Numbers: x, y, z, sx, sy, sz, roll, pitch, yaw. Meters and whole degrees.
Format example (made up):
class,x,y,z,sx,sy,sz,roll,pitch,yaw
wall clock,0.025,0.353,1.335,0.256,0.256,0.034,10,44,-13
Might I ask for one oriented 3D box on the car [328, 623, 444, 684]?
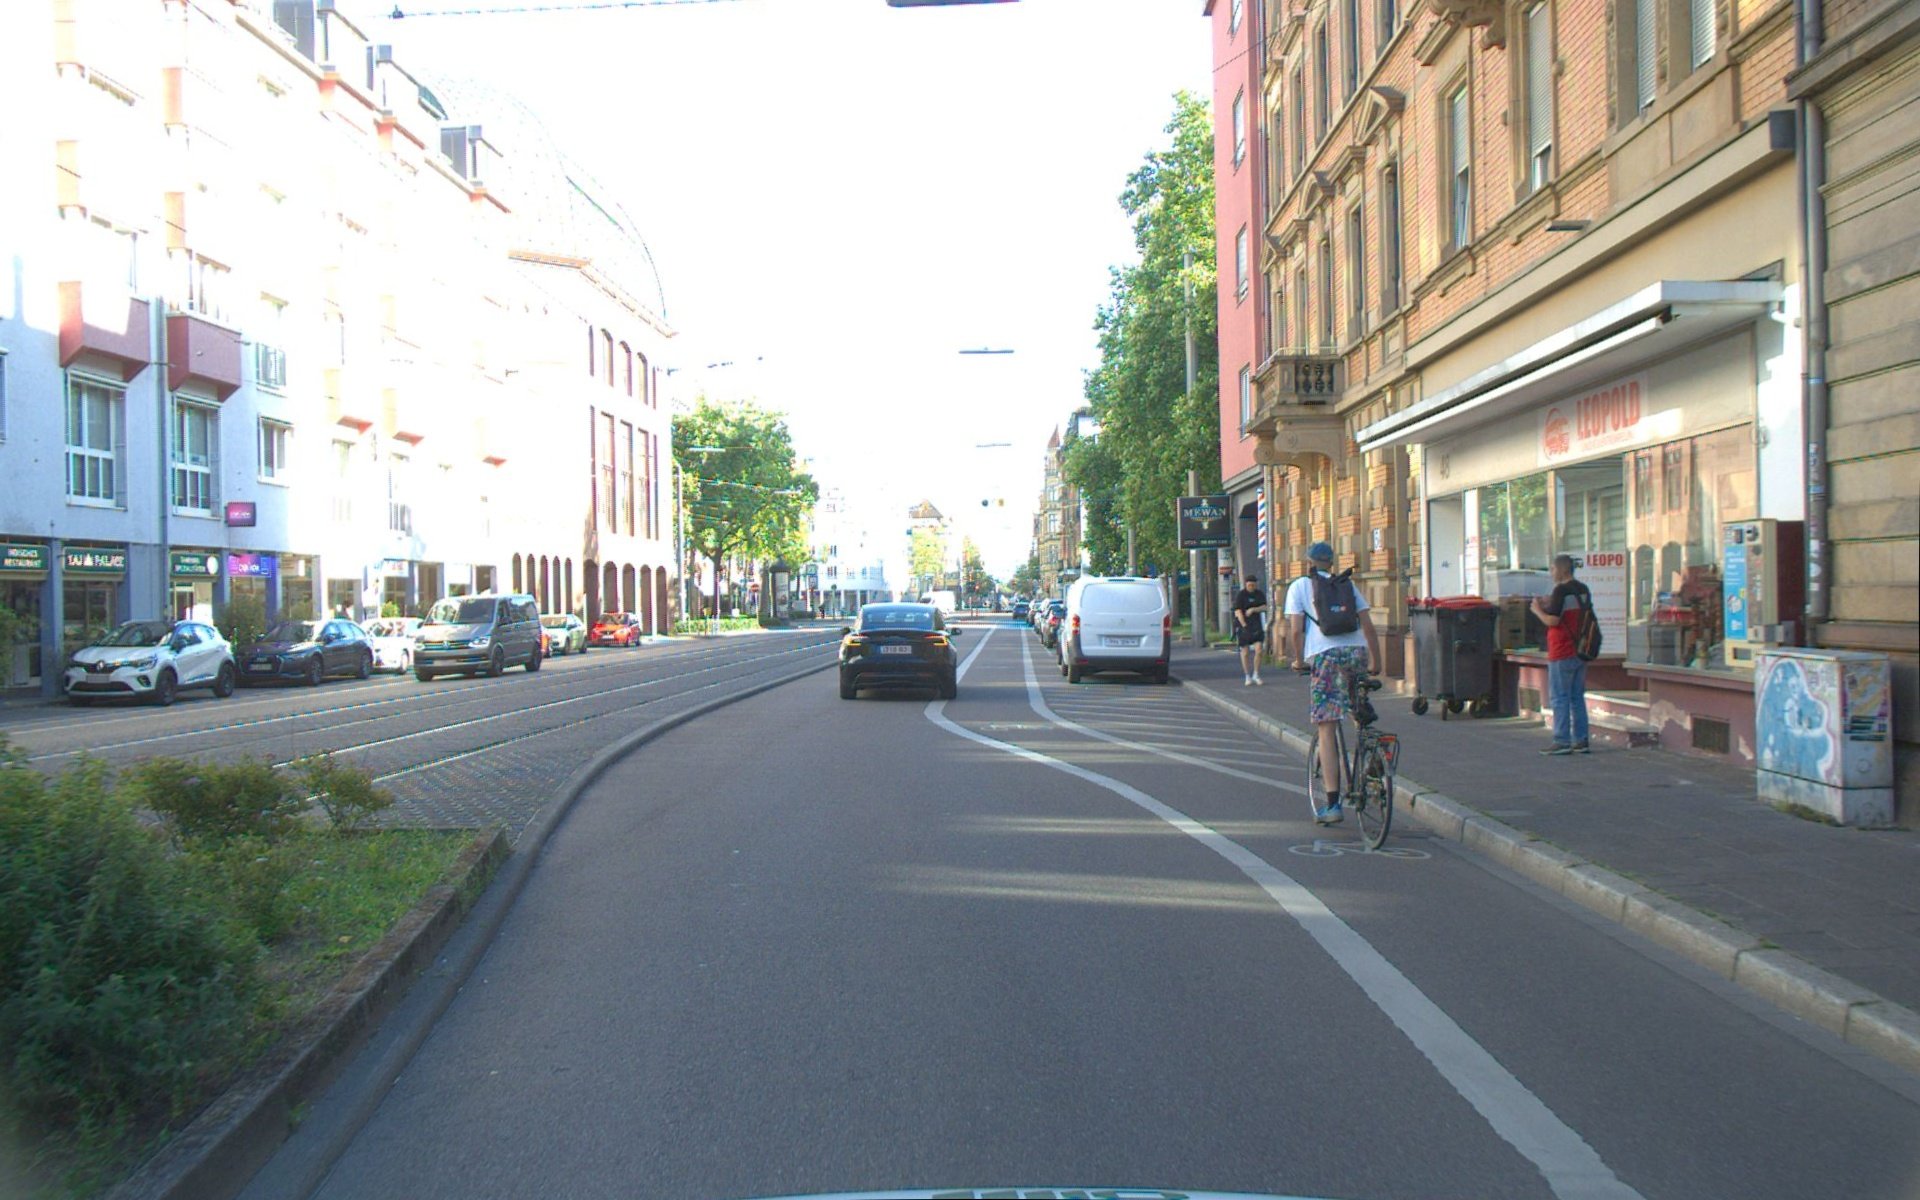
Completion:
class,x,y,z,sx,sy,sz,roll,pitch,yaw
car,-15.506,1.402,44.902,1.716,1.500,4.206,-1,0,-1

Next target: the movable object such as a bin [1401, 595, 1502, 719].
class,x,y,z,sx,sy,sz,roll,pitch,yaw
movable object such as a bin,5.665,0.639,19.126,0.759,1.371,1.299,-1,-1,0

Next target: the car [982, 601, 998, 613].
class,x,y,z,sx,sy,sz,roll,pitch,yaw
car,4.083,0.923,227.418,1.953,1.552,3.998,-1,0,-2

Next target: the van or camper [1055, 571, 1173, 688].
class,x,y,z,sx,sy,sz,roll,pitch,yaw
van or camper,2.871,0.558,31.892,1.891,2.072,5.476,0,-1,1

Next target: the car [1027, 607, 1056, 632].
class,x,y,z,sx,sy,sz,roll,pitch,yaw
car,5.051,1.197,102.919,1.675,1.482,4.551,0,-1,2

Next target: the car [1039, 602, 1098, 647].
class,x,y,z,sx,sy,sz,roll,pitch,yaw
car,3.708,0.841,57.281,1.765,1.460,4.323,1,-1,0

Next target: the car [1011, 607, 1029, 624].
class,x,y,z,sx,sy,sz,roll,pitch,yaw
car,5.547,1.422,153.351,1.560,1.458,3.687,-2,-1,3

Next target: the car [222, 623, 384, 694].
class,x,y,z,sx,sy,sz,roll,pitch,yaw
car,-15.624,1.350,39.614,1.862,1.483,4.826,-1,0,1

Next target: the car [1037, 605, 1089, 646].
class,x,y,z,sx,sy,sz,roll,pitch,yaw
car,3.892,0.931,61.907,1.713,1.468,4.318,-1,0,6

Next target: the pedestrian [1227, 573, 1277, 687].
class,x,y,z,sx,sy,sz,roll,pitch,yaw
pedestrian,4.823,0.499,27.334,0.659,1.846,0.756,-1,-1,1

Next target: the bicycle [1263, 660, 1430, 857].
class,x,y,z,sx,sy,sz,roll,pitch,yaw
bicycle,2.601,1.024,11.350,0.634,1.159,2.095,-1,0,0

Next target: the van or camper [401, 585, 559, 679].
class,x,y,z,sx,sy,sz,roll,pitch,yaw
van or camper,-11.379,0.727,39.603,1.952,1.974,4.836,-4,0,4

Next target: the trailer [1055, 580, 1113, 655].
class,x,y,z,sx,sy,sz,roll,pitch,yaw
trailer,3.663,0.510,49.291,1.626,2.154,3.844,0,-1,3

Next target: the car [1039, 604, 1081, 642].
class,x,y,z,sx,sy,sz,roll,pitch,yaw
car,4.427,1.001,73.894,1.678,1.618,4.065,0,0,1

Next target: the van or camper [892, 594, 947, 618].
class,x,y,z,sx,sy,sz,roll,pitch,yaw
van or camper,-4.801,0.695,195.985,6.825,2.700,2.113,-1,-1,-43

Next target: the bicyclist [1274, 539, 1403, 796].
class,x,y,z,sx,sy,sz,roll,pitch,yaw
bicyclist,2.589,0.448,11.389,0.641,1.685,0.927,-1,-1,-1

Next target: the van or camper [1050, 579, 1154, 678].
class,x,y,z,sx,sy,sz,roll,pitch,yaw
van or camper,3.175,0.623,37.901,1.930,2.081,5.331,0,0,0

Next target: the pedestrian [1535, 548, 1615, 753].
class,x,y,z,sx,sy,sz,roll,pitch,yaw
pedestrian,5.424,0.429,14.573,0.461,1.758,0.585,-2,0,38

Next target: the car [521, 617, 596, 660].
class,x,y,z,sx,sy,sz,roll,pitch,yaw
car,-14.892,1.412,61.566,1.634,1.494,4.291,0,0,2

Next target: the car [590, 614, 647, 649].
class,x,y,z,sx,sy,sz,roll,pitch,yaw
car,-14.704,1.360,71.299,1.625,1.447,3.620,0,0,1

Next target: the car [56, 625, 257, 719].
class,x,y,z,sx,sy,sz,roll,pitch,yaw
car,-15.786,1.366,32.757,1.878,1.642,4.369,-1,0,-1

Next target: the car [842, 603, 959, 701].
class,x,y,z,sx,sy,sz,roll,pitch,yaw
car,-0.879,0.774,26.302,1.684,1.430,3.710,0,0,1
